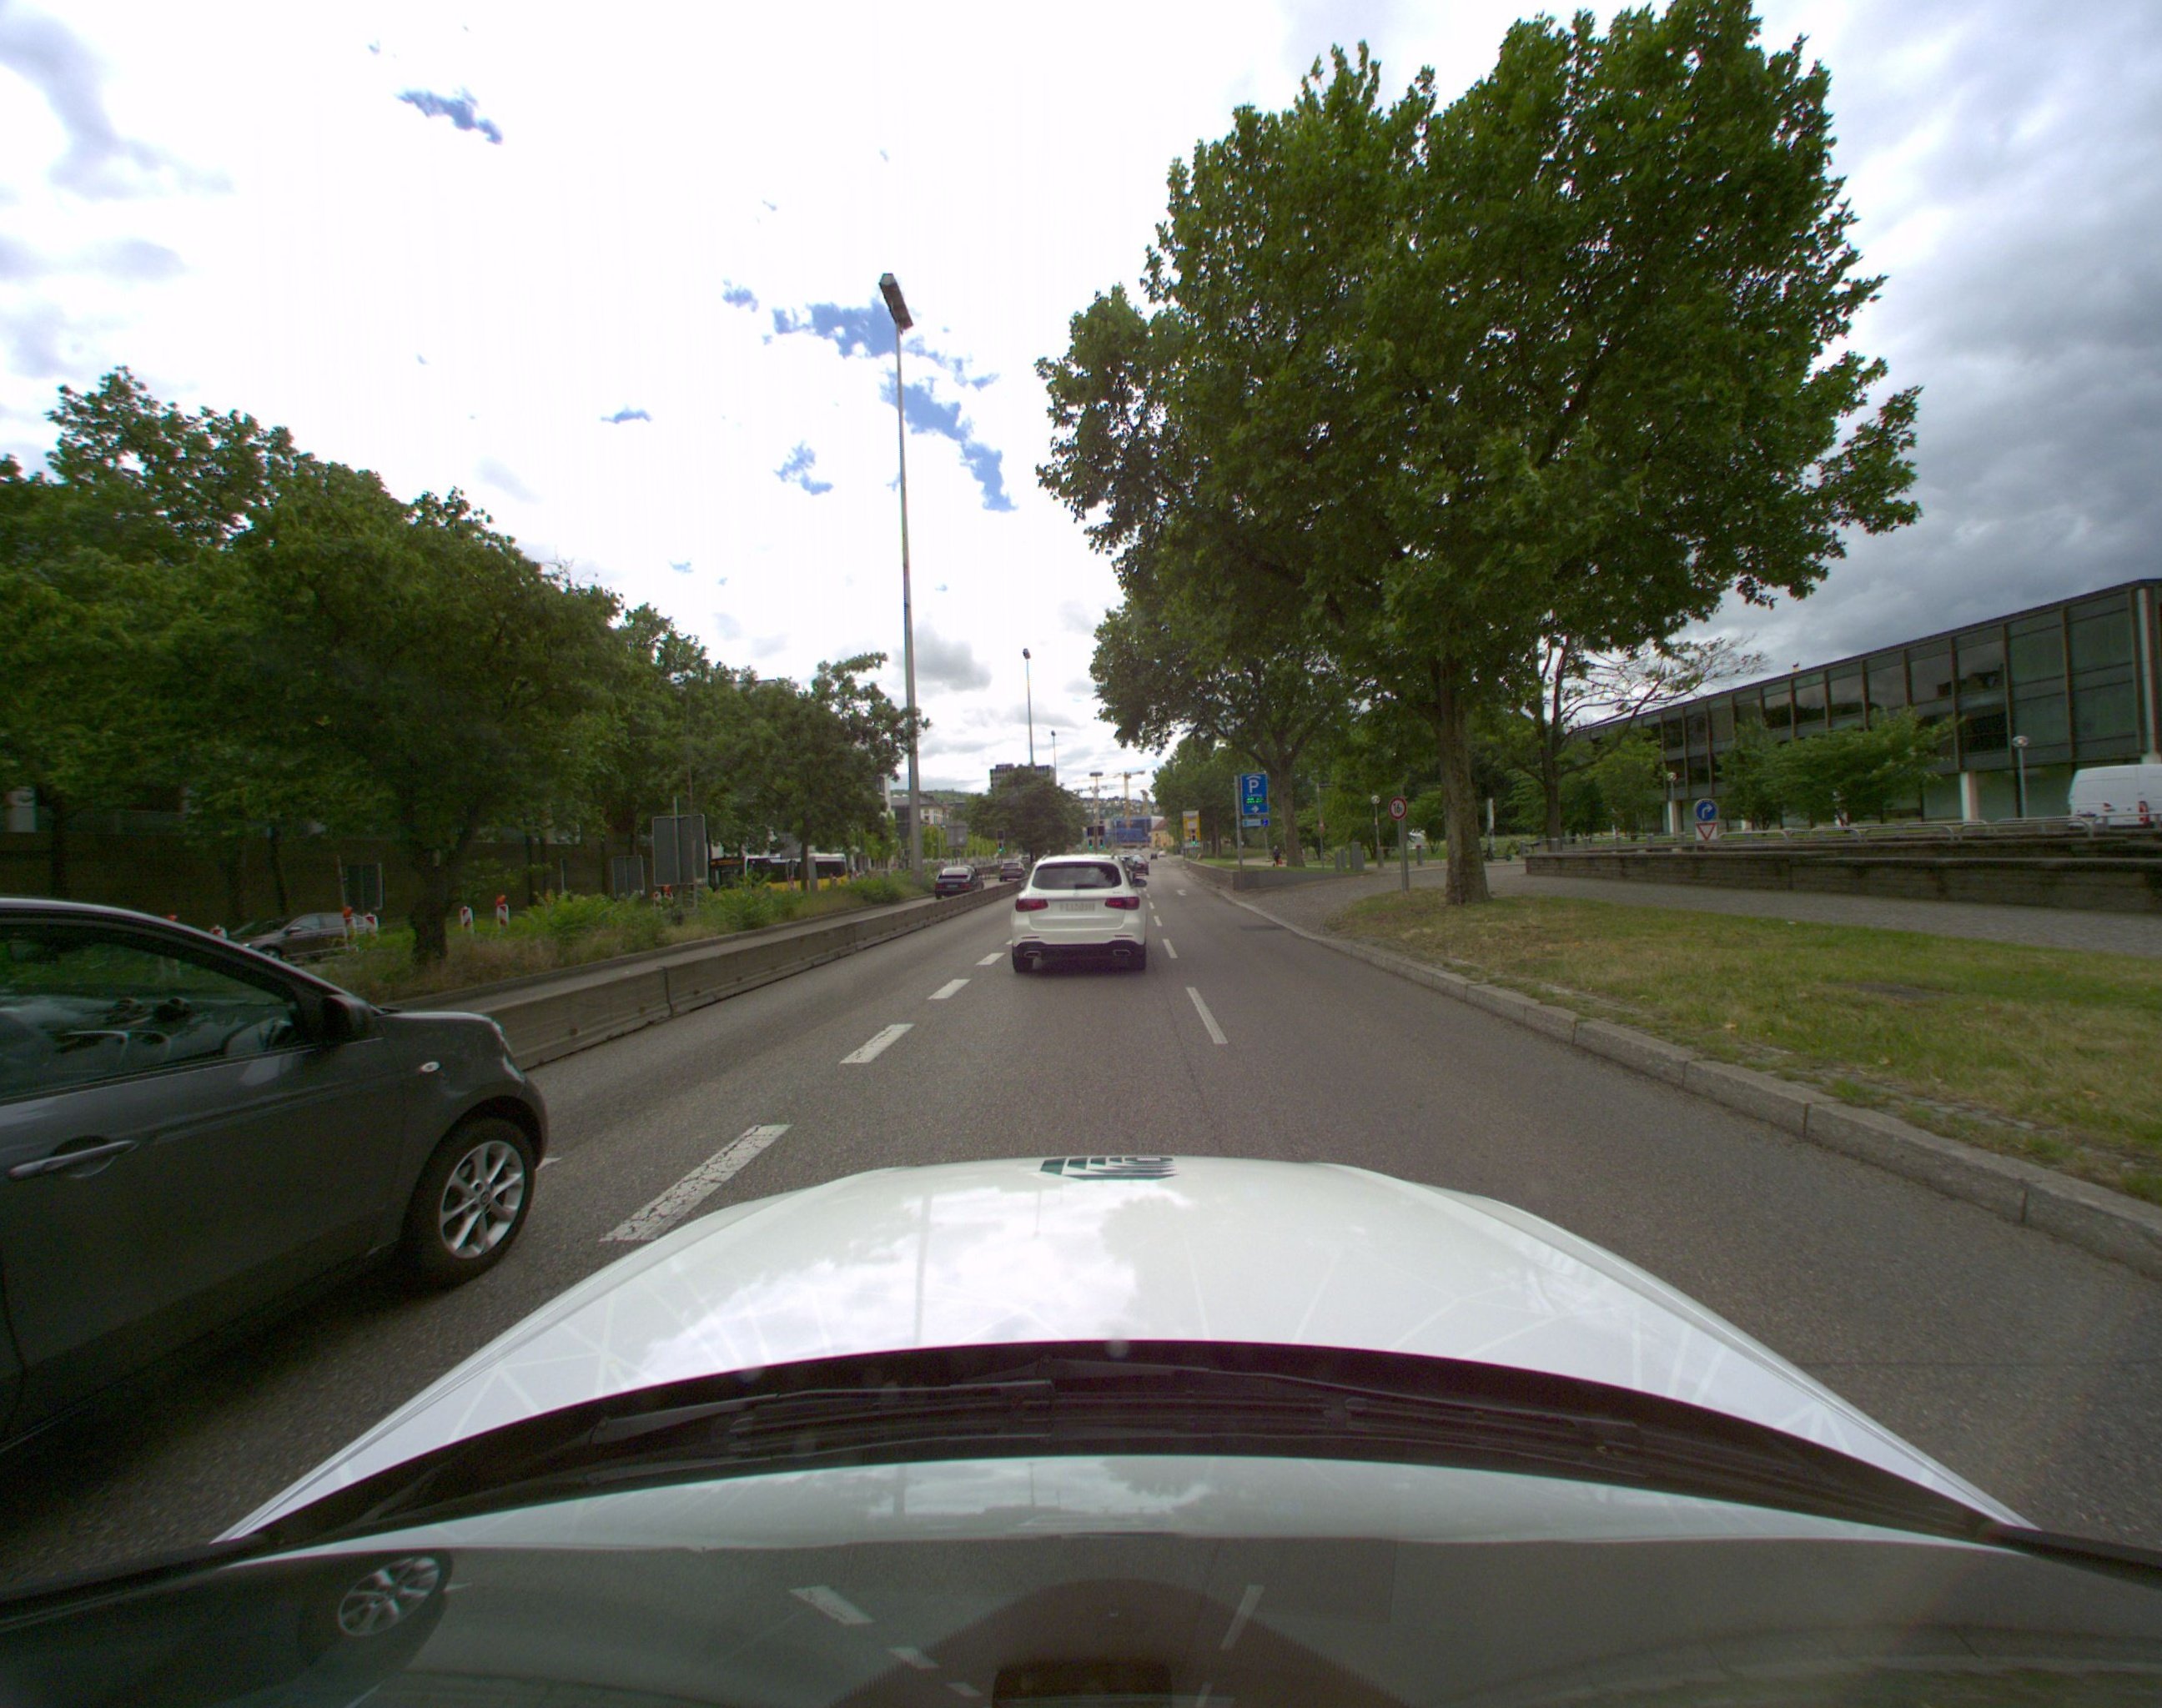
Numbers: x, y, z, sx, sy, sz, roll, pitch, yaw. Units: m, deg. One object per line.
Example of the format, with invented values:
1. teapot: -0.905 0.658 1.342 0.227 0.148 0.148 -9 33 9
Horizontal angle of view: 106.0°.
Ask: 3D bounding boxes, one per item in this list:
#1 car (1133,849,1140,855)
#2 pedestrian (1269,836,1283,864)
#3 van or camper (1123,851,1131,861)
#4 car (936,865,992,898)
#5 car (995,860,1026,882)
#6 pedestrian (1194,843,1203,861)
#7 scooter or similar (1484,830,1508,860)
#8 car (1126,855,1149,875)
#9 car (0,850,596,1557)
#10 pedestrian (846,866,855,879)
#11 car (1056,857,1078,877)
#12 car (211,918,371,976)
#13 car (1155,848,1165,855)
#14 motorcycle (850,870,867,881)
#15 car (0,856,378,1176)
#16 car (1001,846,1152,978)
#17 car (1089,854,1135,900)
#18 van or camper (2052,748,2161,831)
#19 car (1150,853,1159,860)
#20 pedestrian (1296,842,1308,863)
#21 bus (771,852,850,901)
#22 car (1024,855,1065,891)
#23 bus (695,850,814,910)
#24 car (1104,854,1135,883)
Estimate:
1. car: 16.663 -0.541 244.951 1.713 1.584 4.001 0 0 1
2. pedestrian: 14.467 -0.278 60.508 0.853 2.014 0.815 0 -2 1
3. van or camper: 12.085 0.532 212.422 1.915 2.320 4.002 -2 -2 2
4. car: -4.969 1.135 35.017 1.713 1.292 4.001 0 0 1
5. car: -5.216 1.222 60.654 1.746 1.553 4.002 0 0 2
6. pedestrian: 10.874 -0.196 75.316 0.695 1.656 0.684 0 -1 2
7. scooter or similar: 18.091 -0.386 35.509 0.713 1.247 0.729 0 -1 1
8. car: 4.620 0.877 66.996 1.713 1.584 4.001 0 0 1
9. car: -3.123 0.768 1.970 1.621 1.509 3.542 -1 -1 3
10. pedestrian: -27.986 2.270 98.948 0.887 1.557 0.591 -2 -1 -40
11. car: -1.130 1.084 67.748 1.713 1.584 3.999 0 0 0
12. car: -21.665 2.512 22.477 1.347 1.288 3.057 0 -1 2
13. car: 20.871 -0.626 214.788 1.988 1.618 3.997 0 -1 -2
14. motorcycle: -26.342 2.534 96.515 1.891 1.234 0.654 -3 -3 -22
15. car: -5.919 0.730 3.192 1.804 1.460 4.868 1 -1 4
16. car: -0.010 0.781 12.524 1.933 1.684 4.001 0 -1 1
17. car: 1.262 0.872 31.504 1.665 1.628 4.003 0 -1 4
18. van or camper: 34.645 -2.031 25.408 5.674 2.320 2.322 -2 -2 2
19. car: 16.499 0.557 182.636 1.713 1.584 4.001 0 0 1
20. pedestrian: 16.589 -0.094 61.166 0.783 1.527 0.684 0 -1 3
21. bus: -20.132 1.595 61.134 2.911 3.303 7.711 -3 0 2
22. car: -1.757 0.890 40.166 1.713 1.678 4.001 0 0 1
23. bus: -20.486 1.545 52.019 2.901 3.305 10.454 -3 0 2
24. car: 2.225 0.823 48.003 1.713 1.584 4.001 0 0 1
